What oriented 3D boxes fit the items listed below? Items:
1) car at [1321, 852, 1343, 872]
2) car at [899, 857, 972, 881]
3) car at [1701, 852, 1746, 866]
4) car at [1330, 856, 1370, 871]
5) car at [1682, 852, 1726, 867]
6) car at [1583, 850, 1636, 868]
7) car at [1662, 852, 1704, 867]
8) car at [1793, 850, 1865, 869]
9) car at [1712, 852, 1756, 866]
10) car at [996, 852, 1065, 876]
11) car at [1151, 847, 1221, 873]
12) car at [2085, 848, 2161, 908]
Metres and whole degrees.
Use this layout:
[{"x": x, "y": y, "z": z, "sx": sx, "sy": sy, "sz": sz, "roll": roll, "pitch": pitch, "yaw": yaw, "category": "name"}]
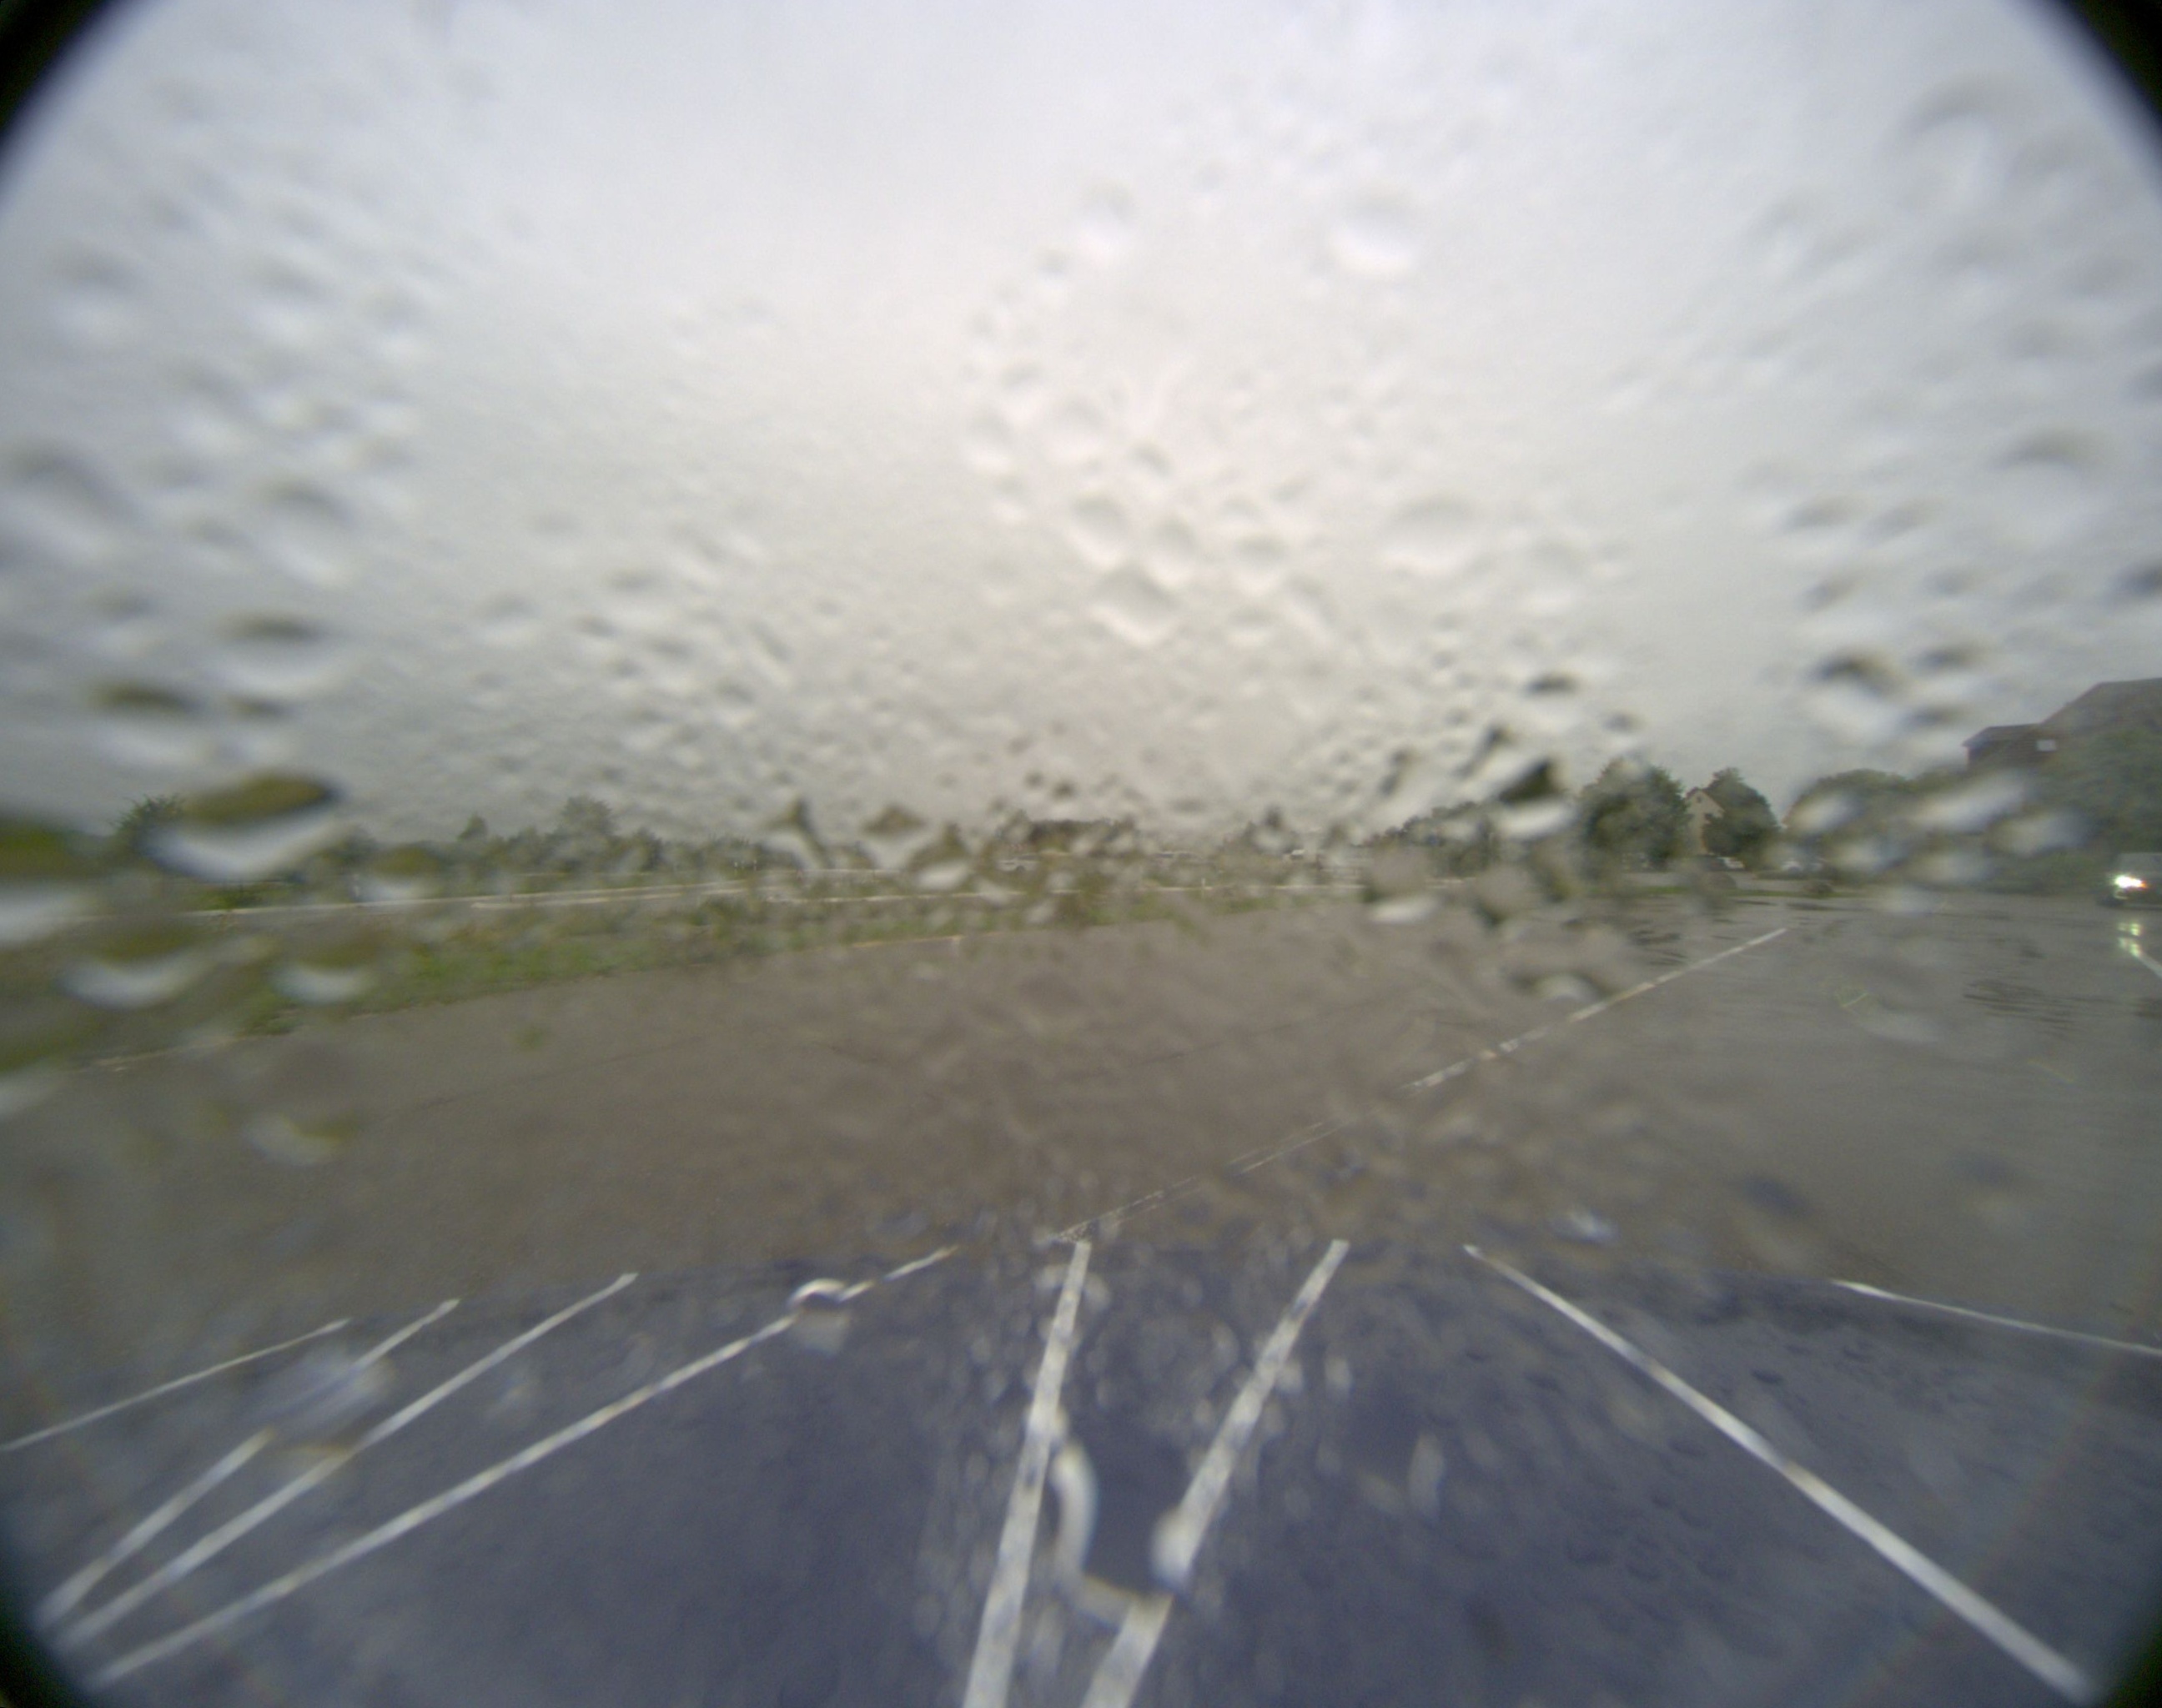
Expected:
[{"x": 23.747, "y": 0.733, "z": 71.818, "sx": 1.711, "sy": 1.805, "sz": 3.721, "roll": -1, "pitch": 0, "yaw": 23, "category": "car"}, {"x": -8.651, "y": 0.884, "z": 45.318, "sx": 1.689, "sy": 1.318, "sz": 4.052, "roll": 0, "pitch": 0, "yaw": 44, "category": "car"}, {"x": 67.441, "y": 0.527, "z": 79.777, "sx": 1.584, "sy": 1.449, "sz": 3.680, "roll": -1, "pitch": 0, "yaw": 0, "category": "car"}, {"x": 32.649, "y": 1.156, "z": 92.247, "sx": 4.368, "sy": 1.748, "sz": 1.747, "roll": 0, "pitch": 0, "yaw": -13, "category": "car"}, {"x": 65.431, "y": 0.556, "z": 79.884, "sx": 1.584, "sy": 1.449, "sz": 3.680, "roll": -1, "pitch": 0, "yaw": 0, "category": "car"}, {"x": 47.414, "y": 0.419, "z": 68.227, "sx": 1.454, "sy": 1.542, "sz": 3.733, "roll": -1, "pitch": 0, "yaw": -44, "category": "car"}, {"x": 63.382, "y": 0.582, "z": 80.079, "sx": 1.555, "sy": 1.449, "sz": 3.680, "roll": -1, "pitch": 0, "yaw": 0, "category": "car"}, {"x": 61.101, "y": 0.461, "z": 62.102, "sx": 1.721, "sy": 1.489, "sz": 4.177, "roll": -1, "pitch": 0, "yaw": -45, "category": "car"}, {"x": 69.347, "y": 0.486, "z": 80.739, "sx": 1.584, "sy": 1.449, "sz": 3.680, "roll": -1, "pitch": 0, "yaw": 0, "category": "car"}, {"x": -3.362, "y": 0.652, "z": 51.340, "sx": 4.394, "sy": 1.575, "sz": 1.689, "roll": -1, "pitch": 0, "yaw": -36, "category": "car"}, {"x": 7.648, "y": 0.414, "z": 55.477, "sx": 4.647, "sy": 1.862, "sz": 1.997, "roll": -1, "pitch": 0, "yaw": -15, "category": "car"}, {"x": 27.613, "y": 0.582, "z": 19.597, "sx": 4.086, "sy": 1.425, "sz": 1.774, "roll": -1, "pitch": 0, "yaw": -41, "category": "car"}]
